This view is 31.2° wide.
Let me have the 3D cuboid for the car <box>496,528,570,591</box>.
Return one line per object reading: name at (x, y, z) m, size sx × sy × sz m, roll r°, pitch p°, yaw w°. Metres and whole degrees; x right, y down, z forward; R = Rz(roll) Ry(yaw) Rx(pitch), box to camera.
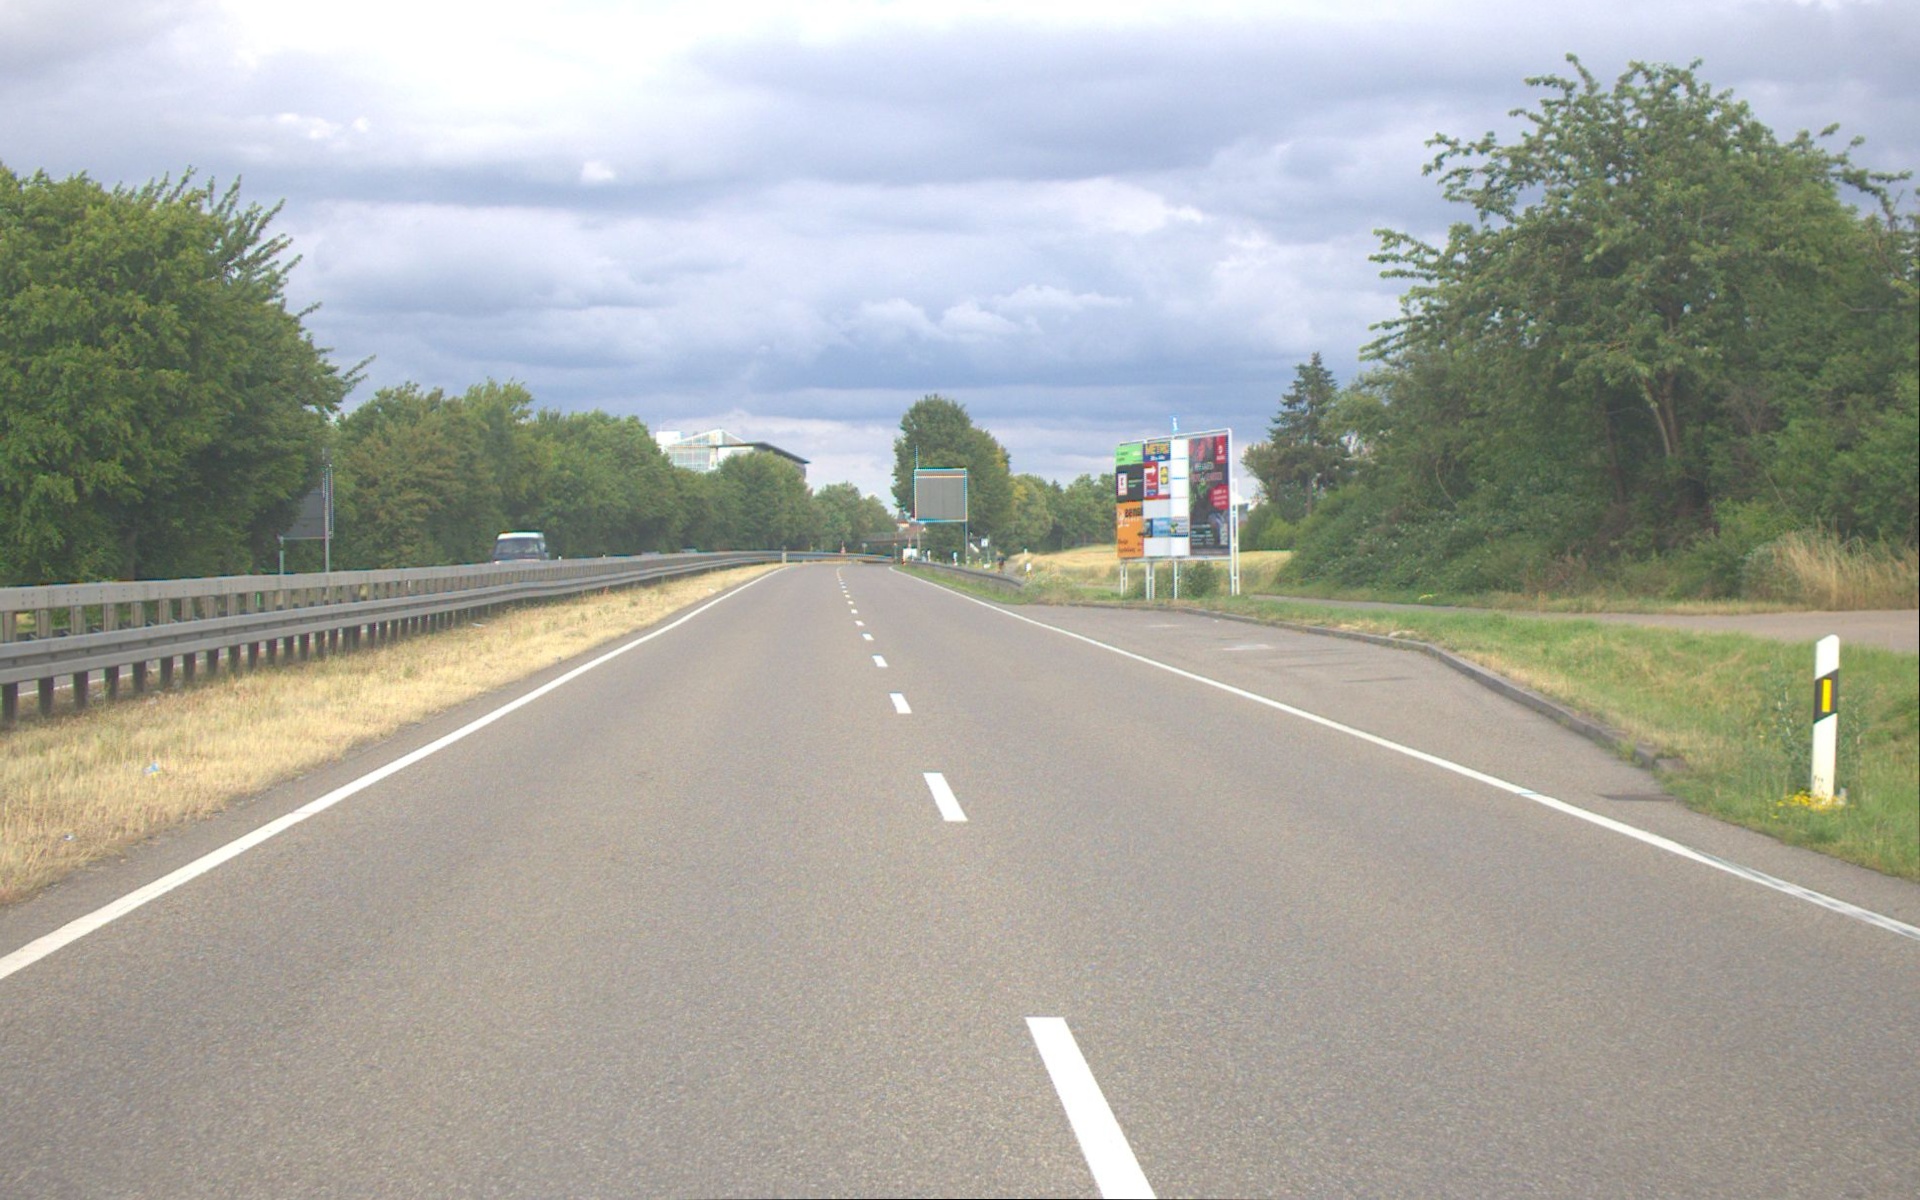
car at (-15.122, -1.450, 121.944) m, size 1.993 × 2.133 × 5.319 m, roll -2°, pitch 1°, yaw -1°
